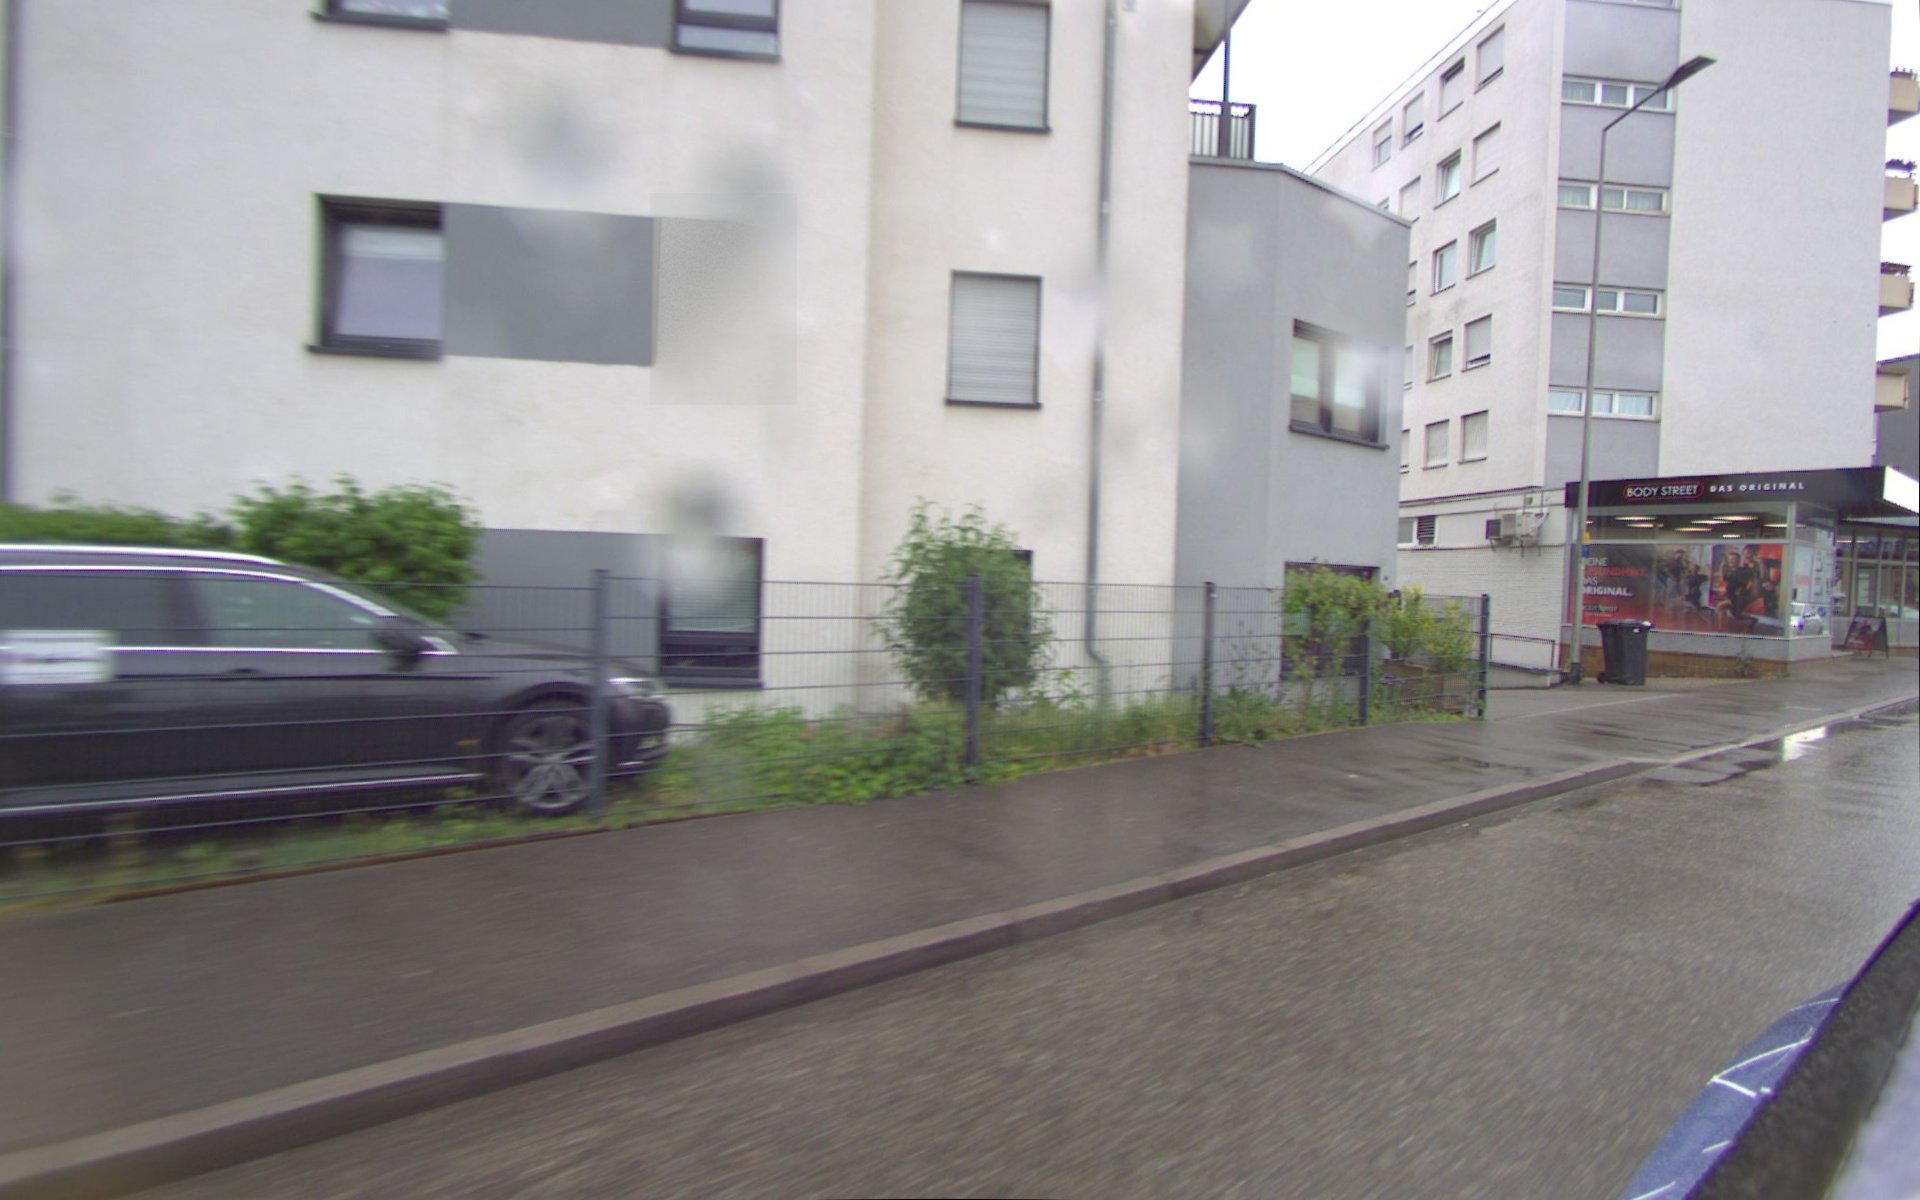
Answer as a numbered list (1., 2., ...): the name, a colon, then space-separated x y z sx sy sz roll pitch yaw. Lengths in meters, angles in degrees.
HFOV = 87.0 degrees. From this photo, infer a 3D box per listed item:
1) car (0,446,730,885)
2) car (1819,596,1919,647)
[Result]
1. car: -3.830 0.234 5.487 4.604 1.807 2.000 1 2 -37
2. car: 30.245 0.711 32.145 1.834 1.513 4.279 3 0 -10
